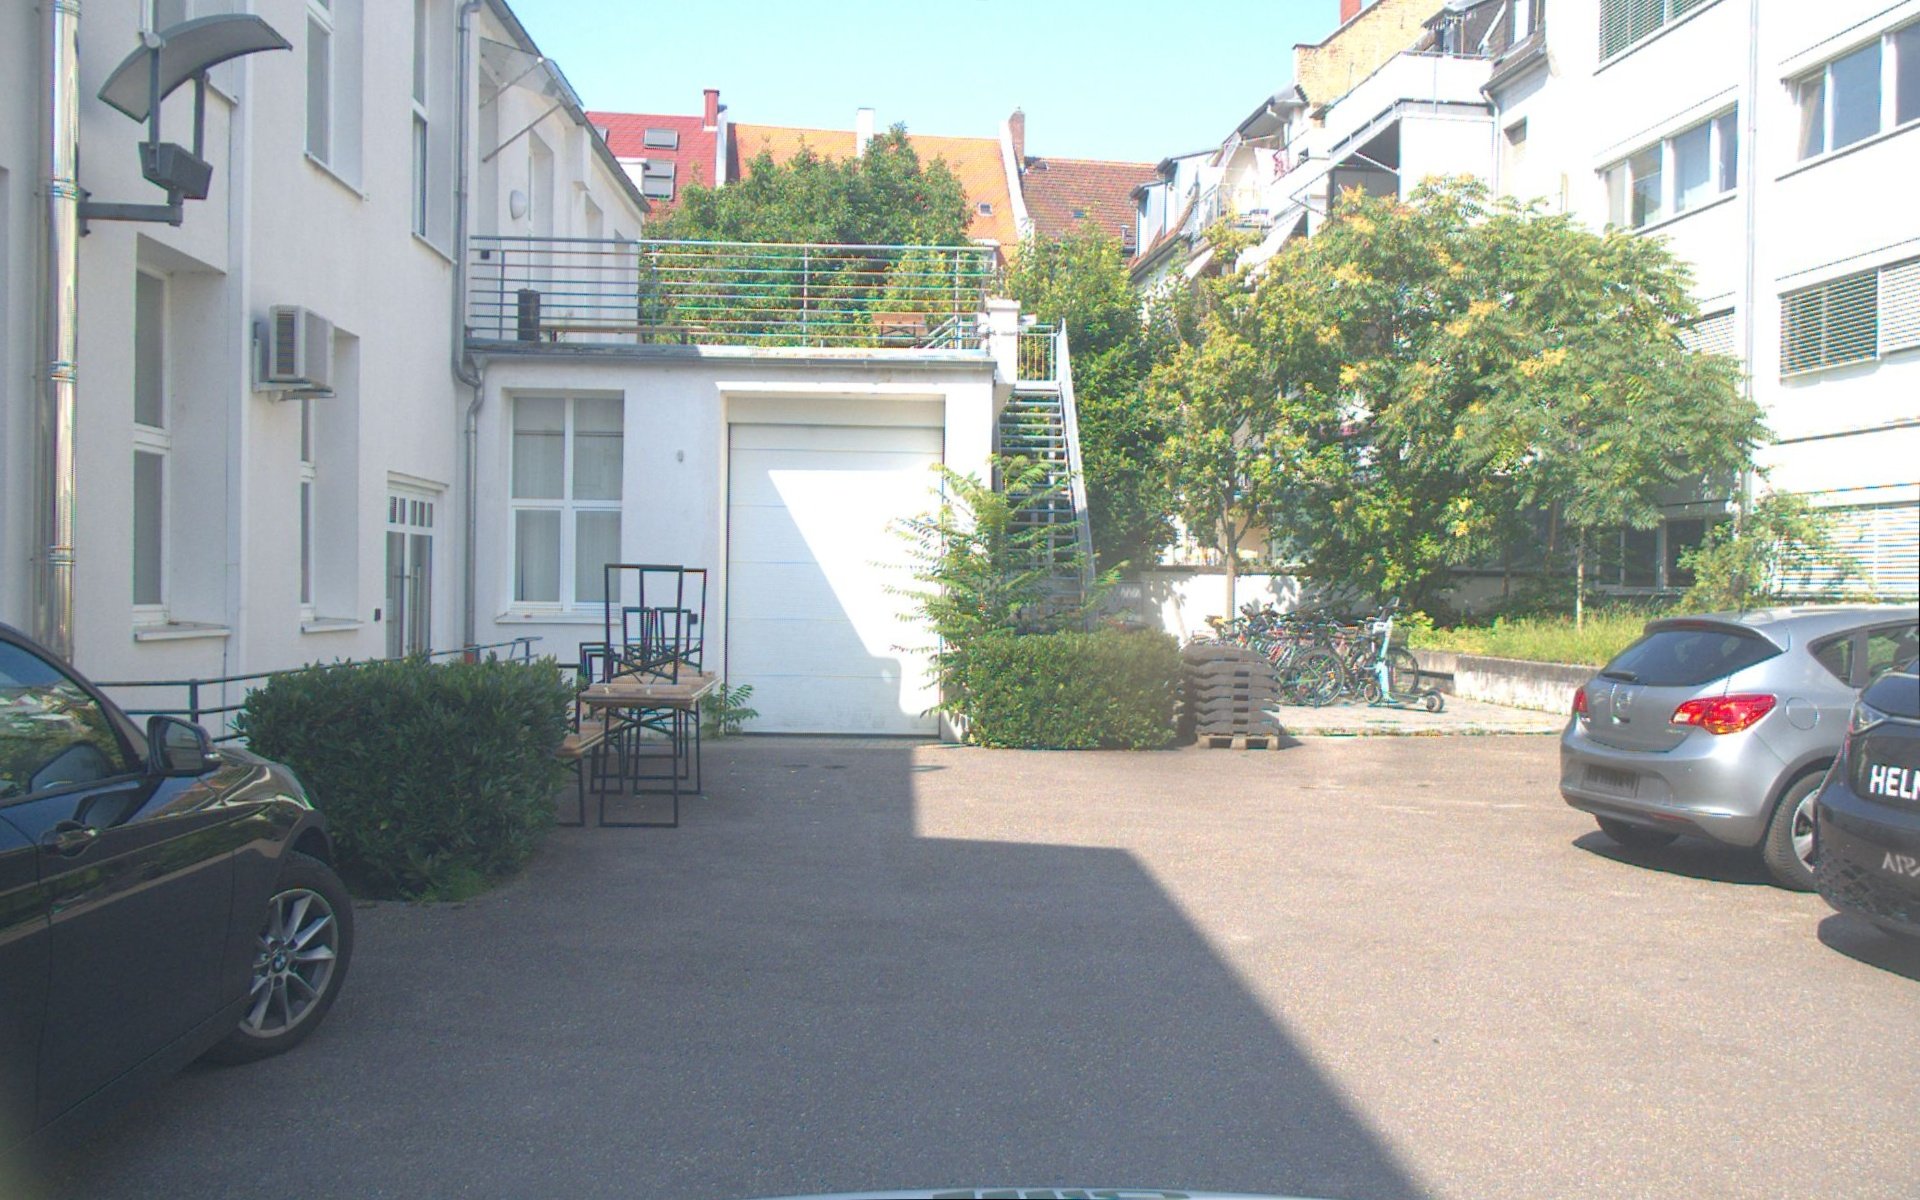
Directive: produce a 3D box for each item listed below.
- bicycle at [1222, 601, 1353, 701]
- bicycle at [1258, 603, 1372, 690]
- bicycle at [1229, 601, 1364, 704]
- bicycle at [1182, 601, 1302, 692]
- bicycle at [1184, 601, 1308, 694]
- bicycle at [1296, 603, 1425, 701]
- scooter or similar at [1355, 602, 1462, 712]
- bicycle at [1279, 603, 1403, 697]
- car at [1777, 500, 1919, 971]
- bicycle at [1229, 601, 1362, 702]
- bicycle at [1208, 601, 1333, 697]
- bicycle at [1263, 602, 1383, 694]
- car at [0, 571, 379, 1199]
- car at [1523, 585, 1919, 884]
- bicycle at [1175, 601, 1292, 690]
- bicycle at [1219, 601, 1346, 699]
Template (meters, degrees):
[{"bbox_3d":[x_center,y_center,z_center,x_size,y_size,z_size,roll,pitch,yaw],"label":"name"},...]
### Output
[{"bbox_3d":[4.128,0.639,20.866,1.590,1.235,0.327,0,0,-1],"label":"bicycle"},{"bbox_3d":[5.080,0.660,23.715,1.588,1.235,0.424,0,0,10],"label":"bicycle"},{"bbox_3d":[4.111,0.637,20.250,1.590,1.235,0.327,0,0,-1],"label":"bicycle"},{"bbox_3d":[3.919,0.640,22.986,1.592,1.235,0.423,0,0,-8],"label":"bicycle"},{"bbox_3d":[3.856,0.638,22.349,1.590,1.235,0.424,0,0,-3],"label":"bicycle"},{"bbox_3d":[5.136,0.656,21.253,1.588,1.235,0.327,0,0,13],"label":"bicycle"},{"bbox_3d":[5.423,0.665,20.052,0.375,1.283,1.333,0,0,-33],"label":"scooter or similar"},{"bbox_3d":[5.082,0.657,22.113,1.588,1.235,0.424,0,0,11],"label":"bicycle"},{"bbox_3d":[5.907,0.529,6.735,4.420,1.826,1.878,0,-1,-11],"label":"car"},{"bbox_3d":[4.166,0.639,20.574,1.590,1.235,0.327,0,0,-1],"label":"bicycle"},{"bbox_3d":[4.061,0.639,21.679,1.588,1.235,0.327,0,0,11],"label":"bicycle"},{"bbox_3d":[4.972,0.657,22.685,1.588,1.235,0.424,0,0,10],"label":"bicycle"},{"bbox_3d":[-2.585,0.676,3.283,1.655,1.484,3.920,1,0,-3],"label":"car"},{"bbox_3d":[5.489,0.690,9.605,3.862,1.508,1.770,0,-1,-11],"label":"car"},{"bbox_3d":[3.895,0.641,23.587,1.592,1.235,0.423,0,0,-7],"label":"bicycle"},{"bbox_3d":[4.149,0.640,21.318,1.588,1.235,0.327,0,0,8],"label":"bicycle"}]
